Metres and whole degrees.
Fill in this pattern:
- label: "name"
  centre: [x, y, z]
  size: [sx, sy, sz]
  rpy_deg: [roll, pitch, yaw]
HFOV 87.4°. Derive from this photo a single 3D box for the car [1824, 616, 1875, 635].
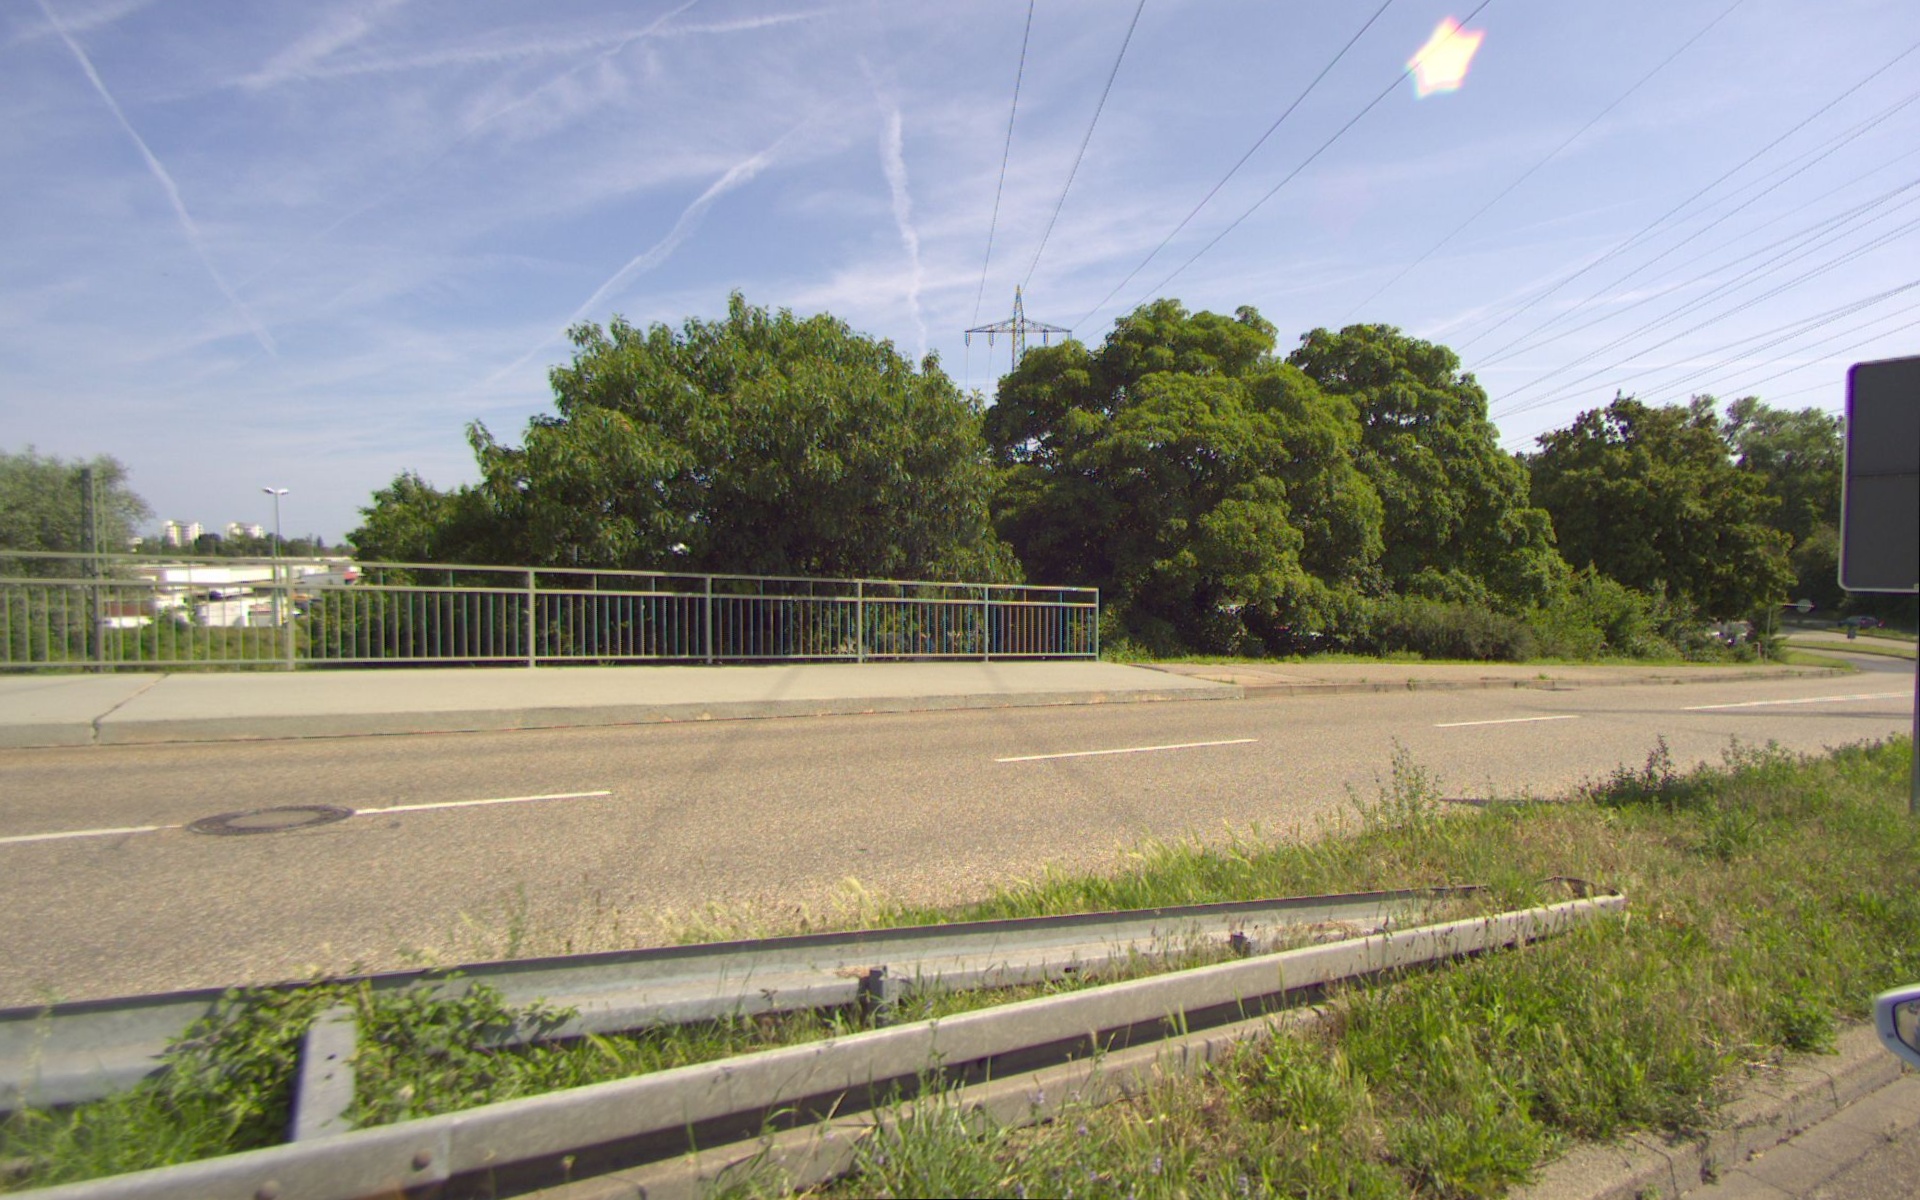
- label: "car"
  centre: [82.991, 2.351, 93.756]
  size: [1.619, 1.587, 3.657]
  rpy_deg: [-1, 1, 1]
